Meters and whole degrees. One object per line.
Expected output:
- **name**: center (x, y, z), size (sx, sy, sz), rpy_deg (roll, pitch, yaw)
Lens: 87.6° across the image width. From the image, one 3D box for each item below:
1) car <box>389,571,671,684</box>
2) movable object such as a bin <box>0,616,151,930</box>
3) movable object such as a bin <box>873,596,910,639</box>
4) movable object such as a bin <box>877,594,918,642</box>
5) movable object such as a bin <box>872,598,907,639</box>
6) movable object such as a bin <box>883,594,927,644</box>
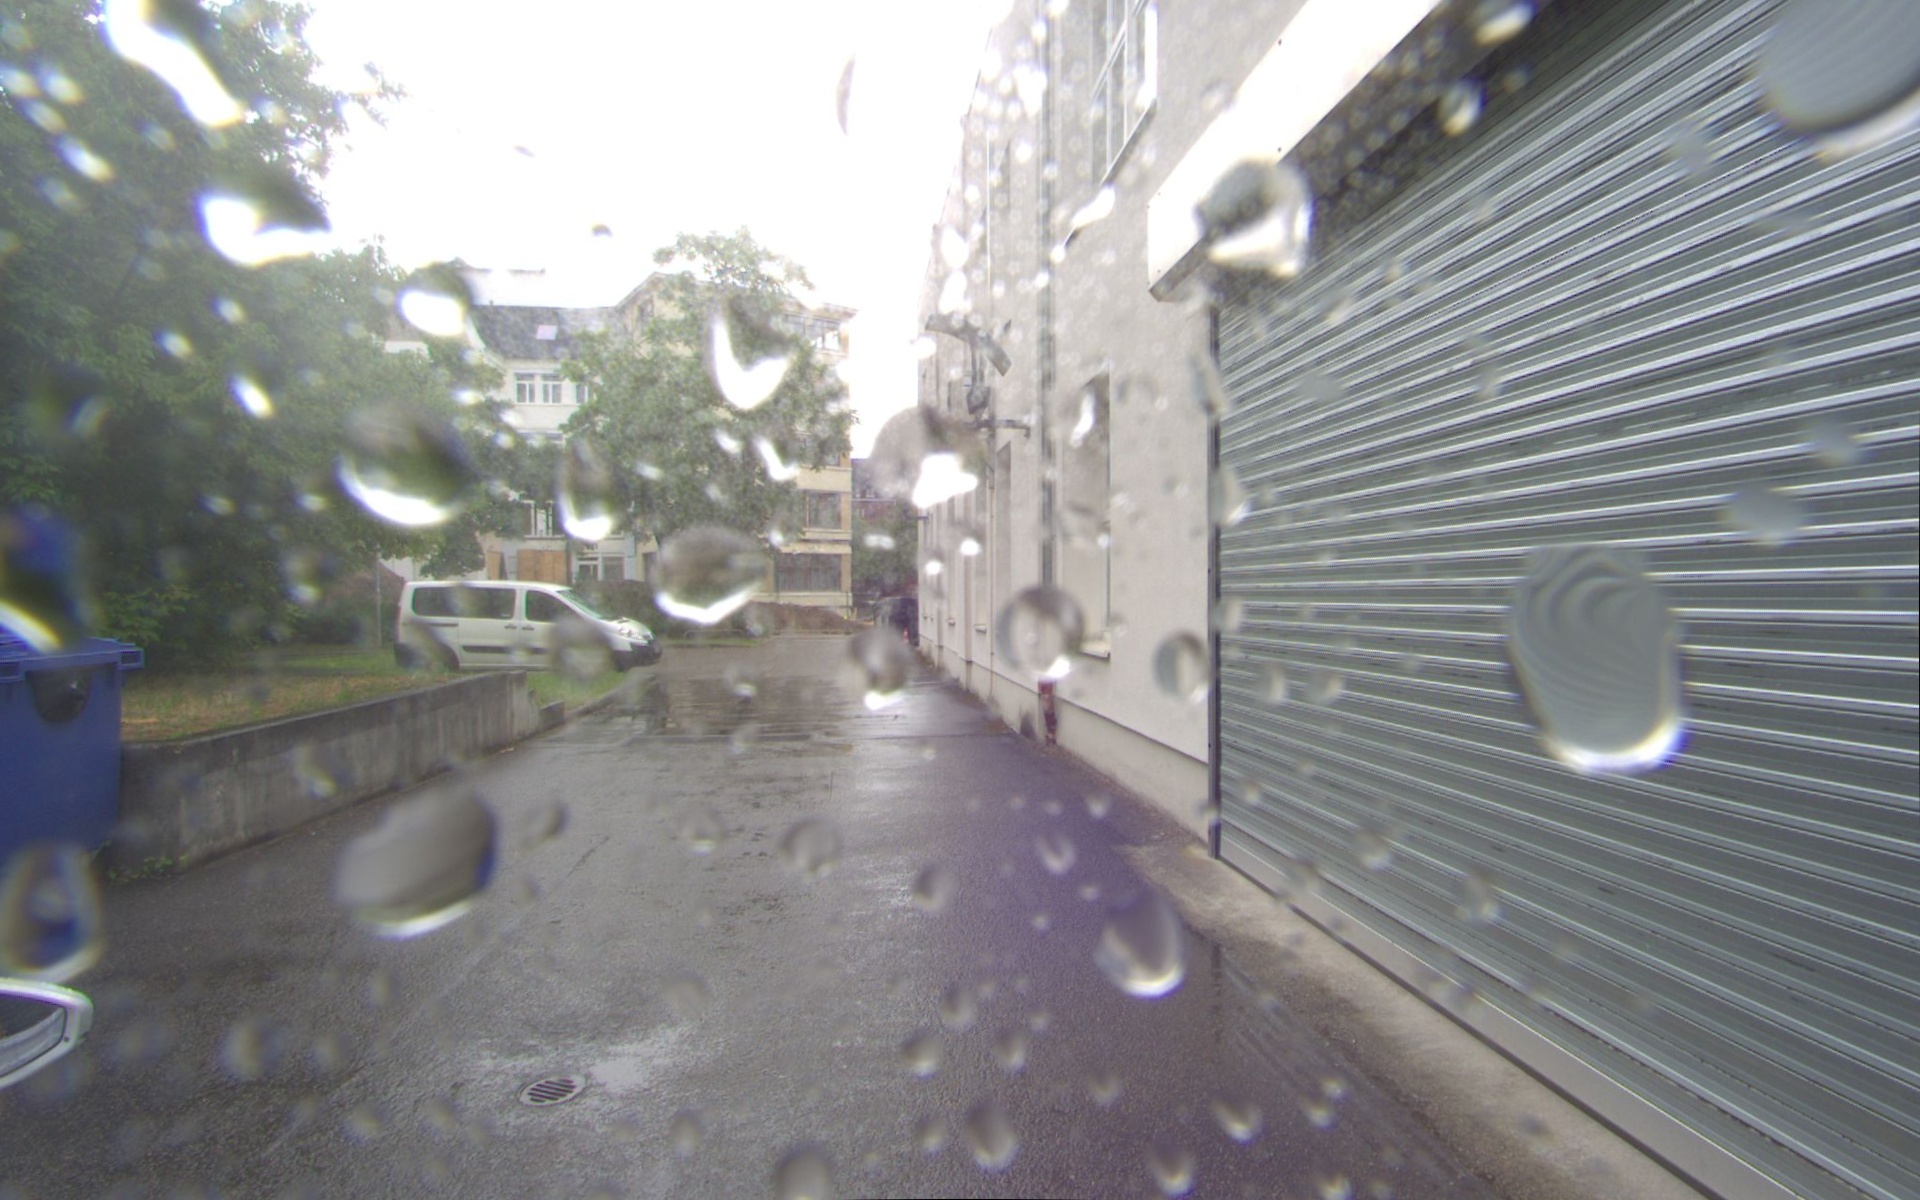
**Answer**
- **car**: center (-8.353, 0.488, 19.855), size (4.703, 2.041, 1.999), rpy_deg (-1, 1, -5)
- **movable object such as a bin**: center (-4.862, 0.770, 4.759), size (1.202, 1.355, 1.006), rpy_deg (0, 1, -6)
- **movable object such as a bin**: center (-2.365, 0.627, 34.617), size (1.195, 1.455, 1.259), rpy_deg (0, -1, -8)
- **movable object such as a bin**: center (-1.984, 0.582, 31.634), size (1.195, 1.455, 1.294), rpy_deg (0, -1, -8)
- **movable object such as a bin**: center (-2.543, 0.677, 35.984), size (1.195, 1.455, 1.259), rpy_deg (0, -1, -8)
- **movable object such as a bin**: center (-1.659, 0.585, 29.967), size (1.195, 1.455, 1.236), rpy_deg (0, -1, -8)
